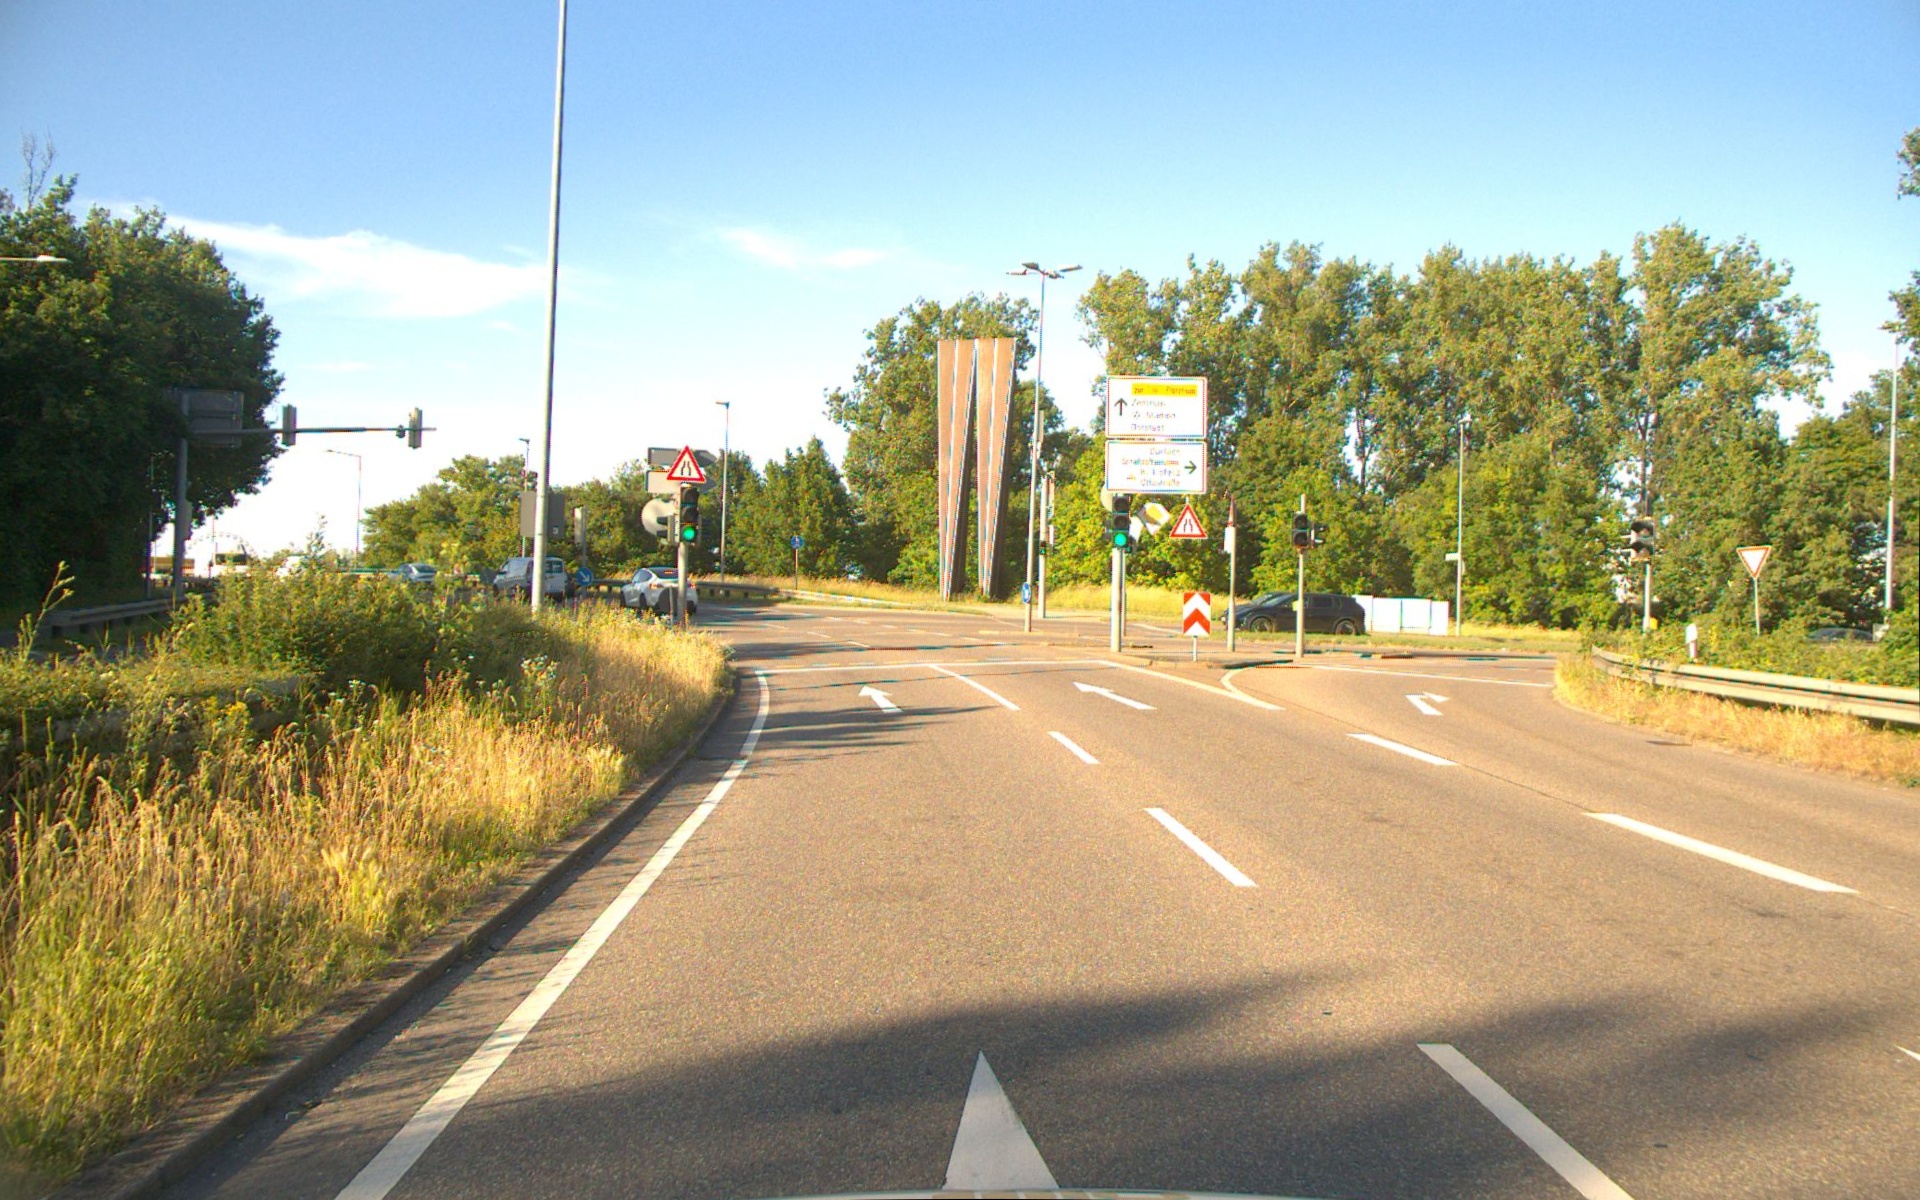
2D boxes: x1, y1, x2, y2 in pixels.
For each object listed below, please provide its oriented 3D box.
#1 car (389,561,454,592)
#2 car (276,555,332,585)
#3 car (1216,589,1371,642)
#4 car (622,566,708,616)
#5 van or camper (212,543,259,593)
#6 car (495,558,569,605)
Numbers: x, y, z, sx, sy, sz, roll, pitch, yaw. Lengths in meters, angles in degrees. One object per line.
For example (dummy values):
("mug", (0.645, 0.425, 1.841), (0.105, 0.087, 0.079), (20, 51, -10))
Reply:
("car", (-28.712, -1.253, 88.091), (1.956, 1.500, 4.096), (1, 1, -39))
("car", (-40.060, -1.865, 100.927), (1.958, 1.728, 3.941), (1, 1, -41))
("car", (10.559, 0.479, 52.544), (4.373, 1.489, 1.997), (2, 1, -7))
("car", (-10.550, -0.332, 58.924), (1.969, 1.668, 4.095), (1, 0, -26))
("van or camper", (-40.877, -1.816, 93.238), (2.025, 2.719, 6.873), (0, 1, -27))
("car", (-18.333, -0.807, 70.786), (1.973, 1.912, 4.206), (1, 0, -30))
